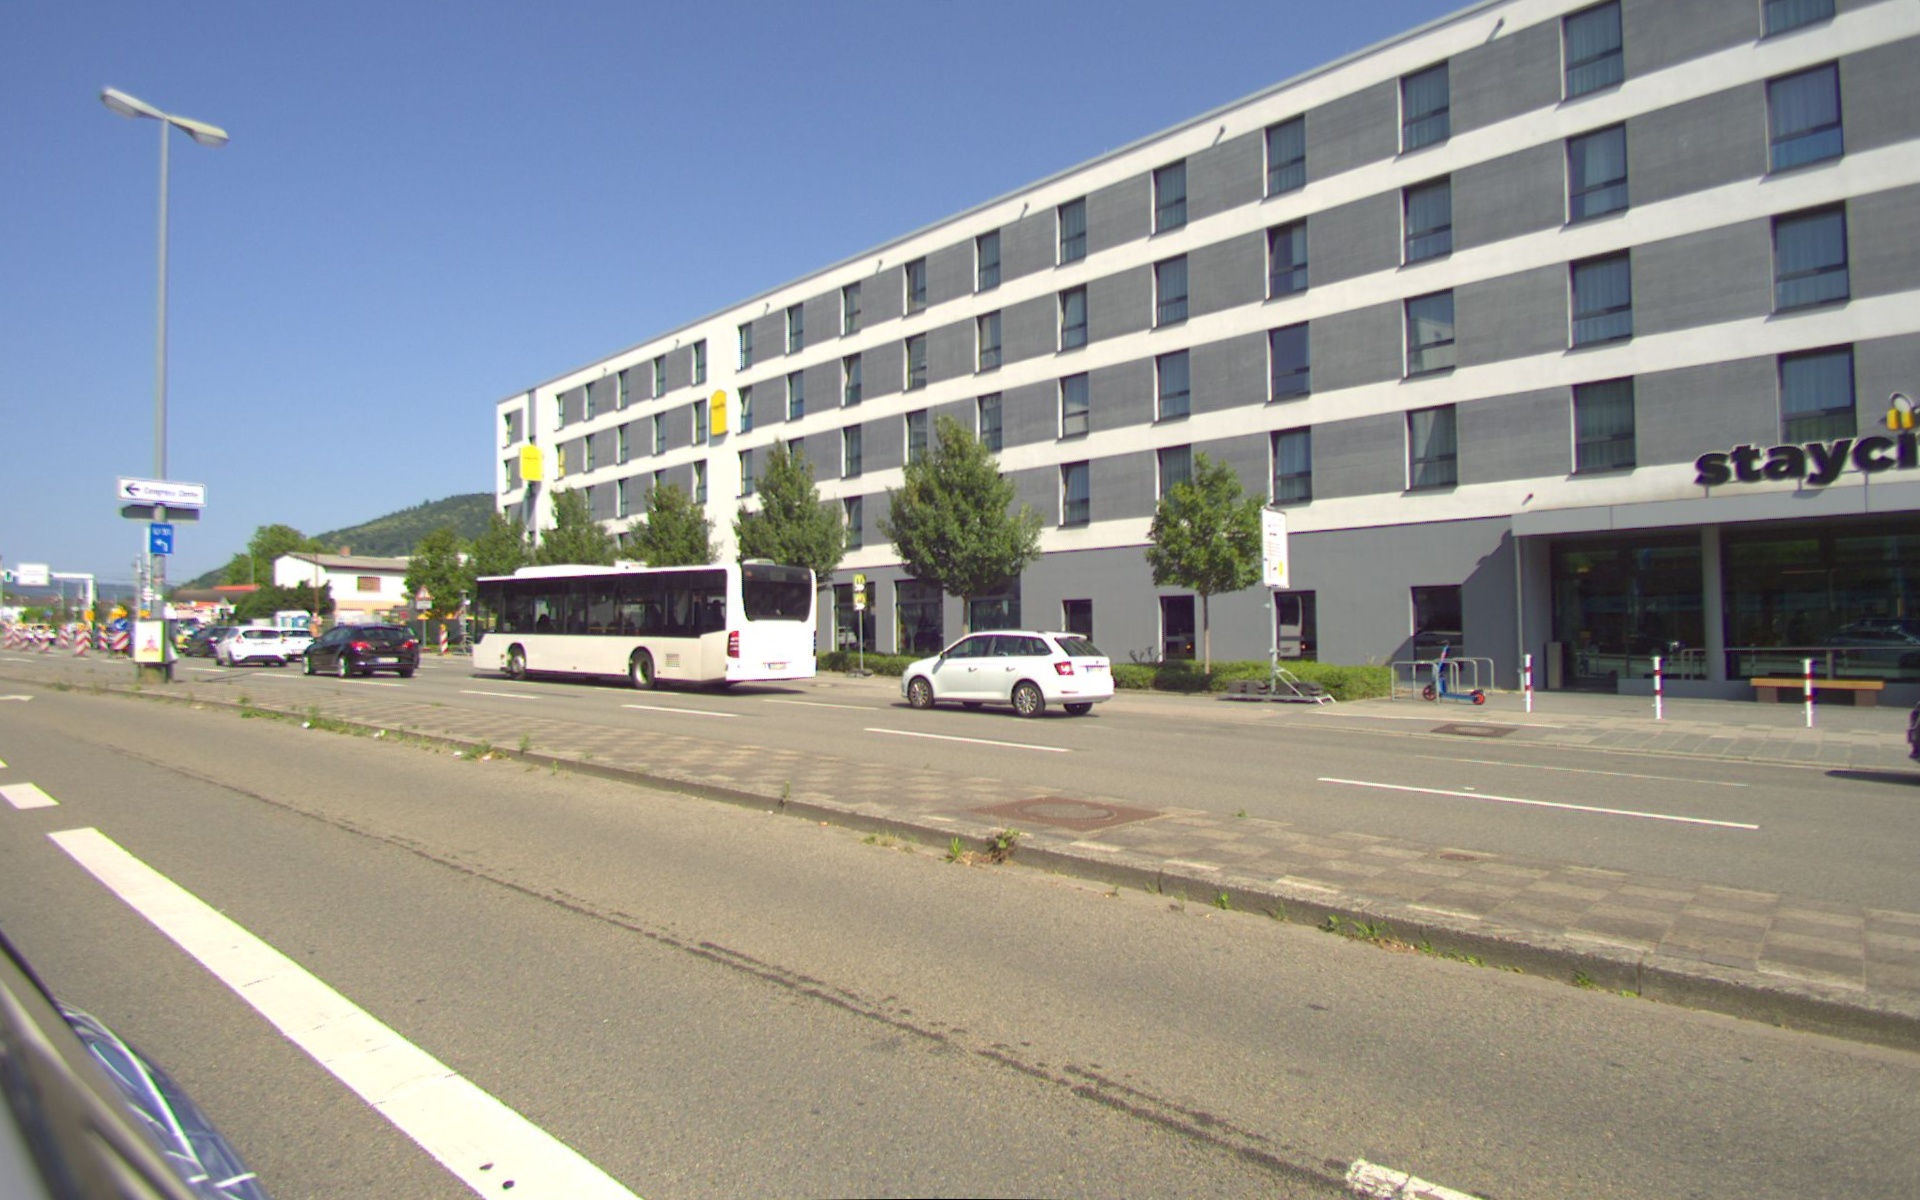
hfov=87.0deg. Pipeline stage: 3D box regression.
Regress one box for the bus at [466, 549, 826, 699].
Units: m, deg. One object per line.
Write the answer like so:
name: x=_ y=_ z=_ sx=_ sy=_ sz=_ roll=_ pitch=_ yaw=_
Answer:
bus: x=-8.507 y=0.650 z=25.854 sx=11.966 sy=3.102 sz=2.710 roll=-1 pitch=-4 yaw=40

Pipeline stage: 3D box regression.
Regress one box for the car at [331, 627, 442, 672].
car: x=-20.883 y=1.753 z=36.763 sx=4.888 sy=1.534 sz=1.973 roll=-1 pitch=-2 yaw=41

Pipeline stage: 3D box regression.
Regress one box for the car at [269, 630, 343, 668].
car: x=-29.950 y=2.218 z=46.305 sx=3.585 sy=1.631 sz=1.698 roll=-1 pitch=-1 yaw=37

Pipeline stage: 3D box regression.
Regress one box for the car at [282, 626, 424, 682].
car: x=-17.225 y=1.473 z=28.617 sx=4.887 sy=1.443 sz=1.973 roll=-1 pitch=-2 yaw=40

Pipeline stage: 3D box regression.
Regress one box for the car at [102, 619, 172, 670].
car: x=-35.549 y=1.891 z=43.686 sx=4.162 sy=2.029 sz=1.658 roll=0 pitch=0 yaw=41

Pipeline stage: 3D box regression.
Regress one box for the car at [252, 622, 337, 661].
car: x=-27.806 y=1.707 z=42.253 sx=3.973 sy=1.550 sz=1.835 roll=-1 pitch=-2 yaw=39

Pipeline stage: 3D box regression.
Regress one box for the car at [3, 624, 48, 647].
car: x=-71.477 y=2.733 z=77.371 sx=4.888 sy=1.725 sz=1.973 roll=-2 pitch=-2 yaw=41

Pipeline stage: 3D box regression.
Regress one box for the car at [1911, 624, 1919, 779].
car: x=11.599 y=1.025 z=9.042 sx=4.411 sy=1.590 sz=1.972 roll=-1 pitch=-4 yaw=41

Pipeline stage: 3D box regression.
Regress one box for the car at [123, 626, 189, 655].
car: x=-44.467 y=2.190 z=55.944 sx=4.888 sy=1.534 sz=1.973 roll=-1 pitch=-2 yaw=41

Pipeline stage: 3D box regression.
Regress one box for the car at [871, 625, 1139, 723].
car: x=0.744 y=1.264 z=18.089 sx=4.403 sy=1.497 sz=1.976 roll=0 pitch=-4 yaw=36

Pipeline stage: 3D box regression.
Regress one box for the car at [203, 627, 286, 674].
car: x=-25.508 y=1.763 z=36.037 sx=4.002 sy=1.462 sz=1.739 roll=0 pitch=0 yaw=45

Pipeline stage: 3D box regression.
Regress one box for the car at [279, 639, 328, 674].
car: x=-25.346 y=2.154 z=39.063 sx=2.219 sy=1.216 sz=1.044 roll=0 pitch=0 yaw=42

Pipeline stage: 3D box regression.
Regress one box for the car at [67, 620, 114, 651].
car: x=-61.015 y=2.435 z=71.015 sx=3.998 sy=2.029 sz=1.973 roll=0 pitch=0 yaw=41

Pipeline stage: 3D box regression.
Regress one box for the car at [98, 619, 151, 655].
car: x=-50.646 y=2.204 z=61.300 sx=4.000 sy=2.029 sz=1.972 roll=0 pitch=0 yaw=43
